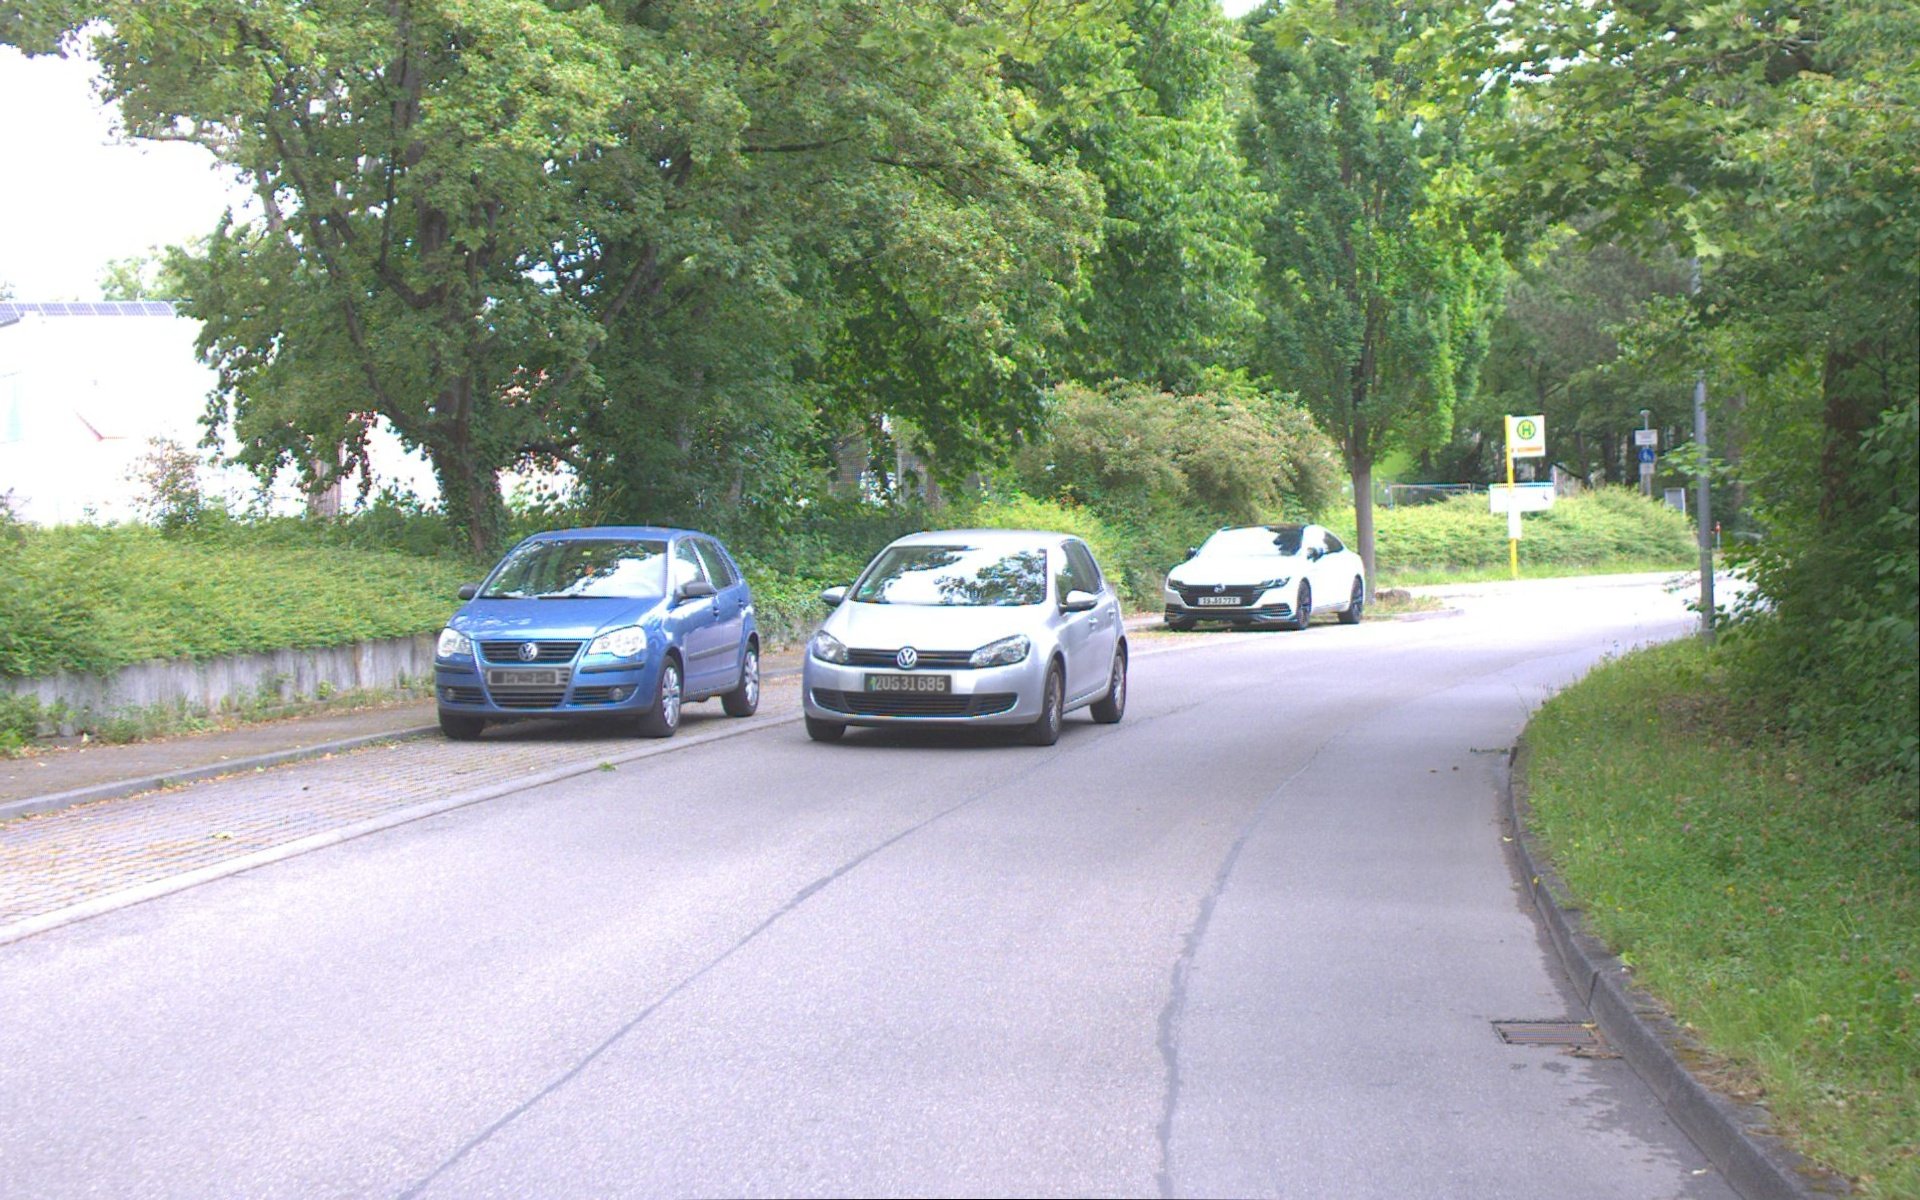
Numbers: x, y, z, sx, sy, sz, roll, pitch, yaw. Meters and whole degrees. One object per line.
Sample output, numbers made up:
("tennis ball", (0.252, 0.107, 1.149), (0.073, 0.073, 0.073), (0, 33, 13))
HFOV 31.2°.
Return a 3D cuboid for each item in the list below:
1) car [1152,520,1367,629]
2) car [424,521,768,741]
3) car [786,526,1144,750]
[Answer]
("car", (4.143, -0.381, 46.897), (1.816, 1.419, 4.356), (1, 1, 21))
("car", (-2.560, 0.172, 24.999), (1.534, 1.454, 3.719), (-1, 1, 9))
("car", (0.128, 0.205, 24.986), (1.677, 1.457, 4.059), (1, 2, 14))
